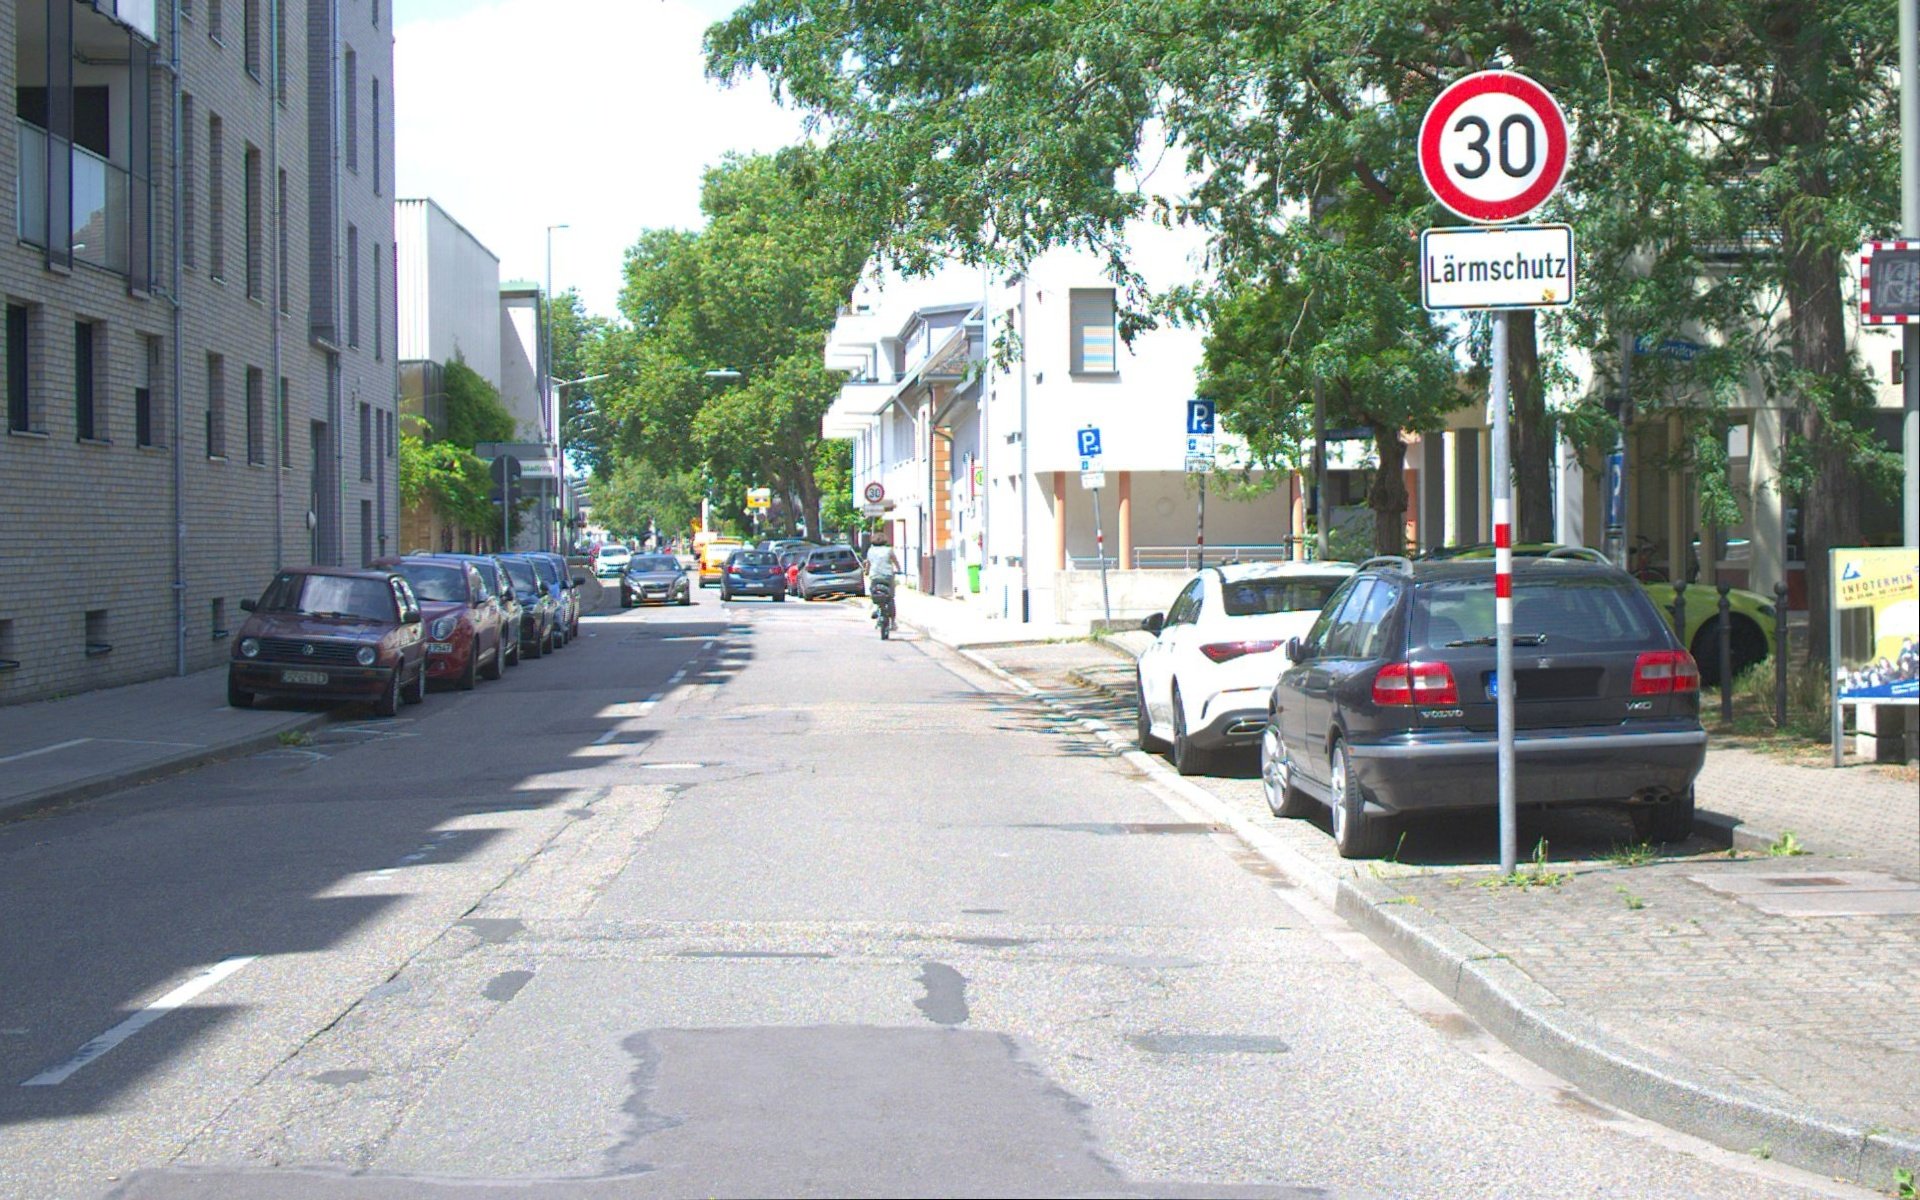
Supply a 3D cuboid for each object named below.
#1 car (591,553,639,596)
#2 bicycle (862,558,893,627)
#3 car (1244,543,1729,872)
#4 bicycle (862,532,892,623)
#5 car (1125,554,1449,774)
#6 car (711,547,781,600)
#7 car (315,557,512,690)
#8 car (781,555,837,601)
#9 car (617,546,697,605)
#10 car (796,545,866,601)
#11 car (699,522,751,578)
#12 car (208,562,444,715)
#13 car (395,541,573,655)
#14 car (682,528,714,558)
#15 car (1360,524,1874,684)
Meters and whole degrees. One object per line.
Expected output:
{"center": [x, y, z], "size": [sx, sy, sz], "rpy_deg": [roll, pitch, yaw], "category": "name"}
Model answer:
{"center": [-16.416, -1.242, 163.712], "size": [1.993, 2.007, 4.000], "rpy_deg": [0, 1, -2], "category": "car"}
{"center": [-1.361, -0.130, 56.725], "size": [0.483, 1.111, 1.196], "rpy_deg": [0, 1, -2], "category": "bicycle"}
{"center": [2.571, 0.463, 17.695], "size": [1.692, 1.415, 4.000], "rpy_deg": [-3, 1, -2], "category": "car"}
{"center": [-1.368, -0.373, 56.699], "size": [0.477, 1.485, 0.576], "rpy_deg": [0, 1, -2], "category": "bicycle"}
{"center": [2.222, 0.391, 24.351], "size": [1.779, 1.415, 4.000], "rpy_deg": [0, 1, -2], "category": "car"}
{"center": [-5.966, -0.765, 96.153], "size": [1.715, 1.397, 4.000], "rpy_deg": [-1, 1, -1], "category": "car"}
{"center": [-6.255, 0.235, 39.723], "size": [1.732, 1.437, 4.000], "rpy_deg": [0, 1, -1], "category": "car"}
{"center": [-4.875, -0.722, 111.458], "size": [1.753, 1.447, 3.679], "rpy_deg": [0, 1, -2], "category": "car"}
{"center": [-8.083, -0.671, 91.957], "size": [1.993, 1.514, 4.001], "rpy_deg": [-1, 1, -3], "category": "car"}
{"center": [-3.761, -0.794, 100.134], "size": [1.993, 1.612, 4.000], "rpy_deg": [0, 1, -3], "category": "car"}
{"center": [-8.663, -1.855, 127.101], "size": [1.839, 2.007, 4.001], "rpy_deg": [0, 1, -3], "category": "car"}
{"center": [-6.354, 0.345, 34.826], "size": [1.732, 1.437, 4.000], "rpy_deg": [0, 1, -1], "category": "car"}
{"center": [-6.356, -0.062, 46.266], "size": [1.826, 1.415, 4.000], "rpy_deg": [2, 1, 0], "category": "car"}
{"center": [-17.996, -3.913, 235.796], "size": [2.156, 2.007, 4.001], "rpy_deg": [-1, 1, -5], "category": "car"}
{"center": [6.219, 0.018, 32.840], "size": [4.377, 1.376, 2.001], "rpy_deg": [1, 1, -7], "category": "car"}
